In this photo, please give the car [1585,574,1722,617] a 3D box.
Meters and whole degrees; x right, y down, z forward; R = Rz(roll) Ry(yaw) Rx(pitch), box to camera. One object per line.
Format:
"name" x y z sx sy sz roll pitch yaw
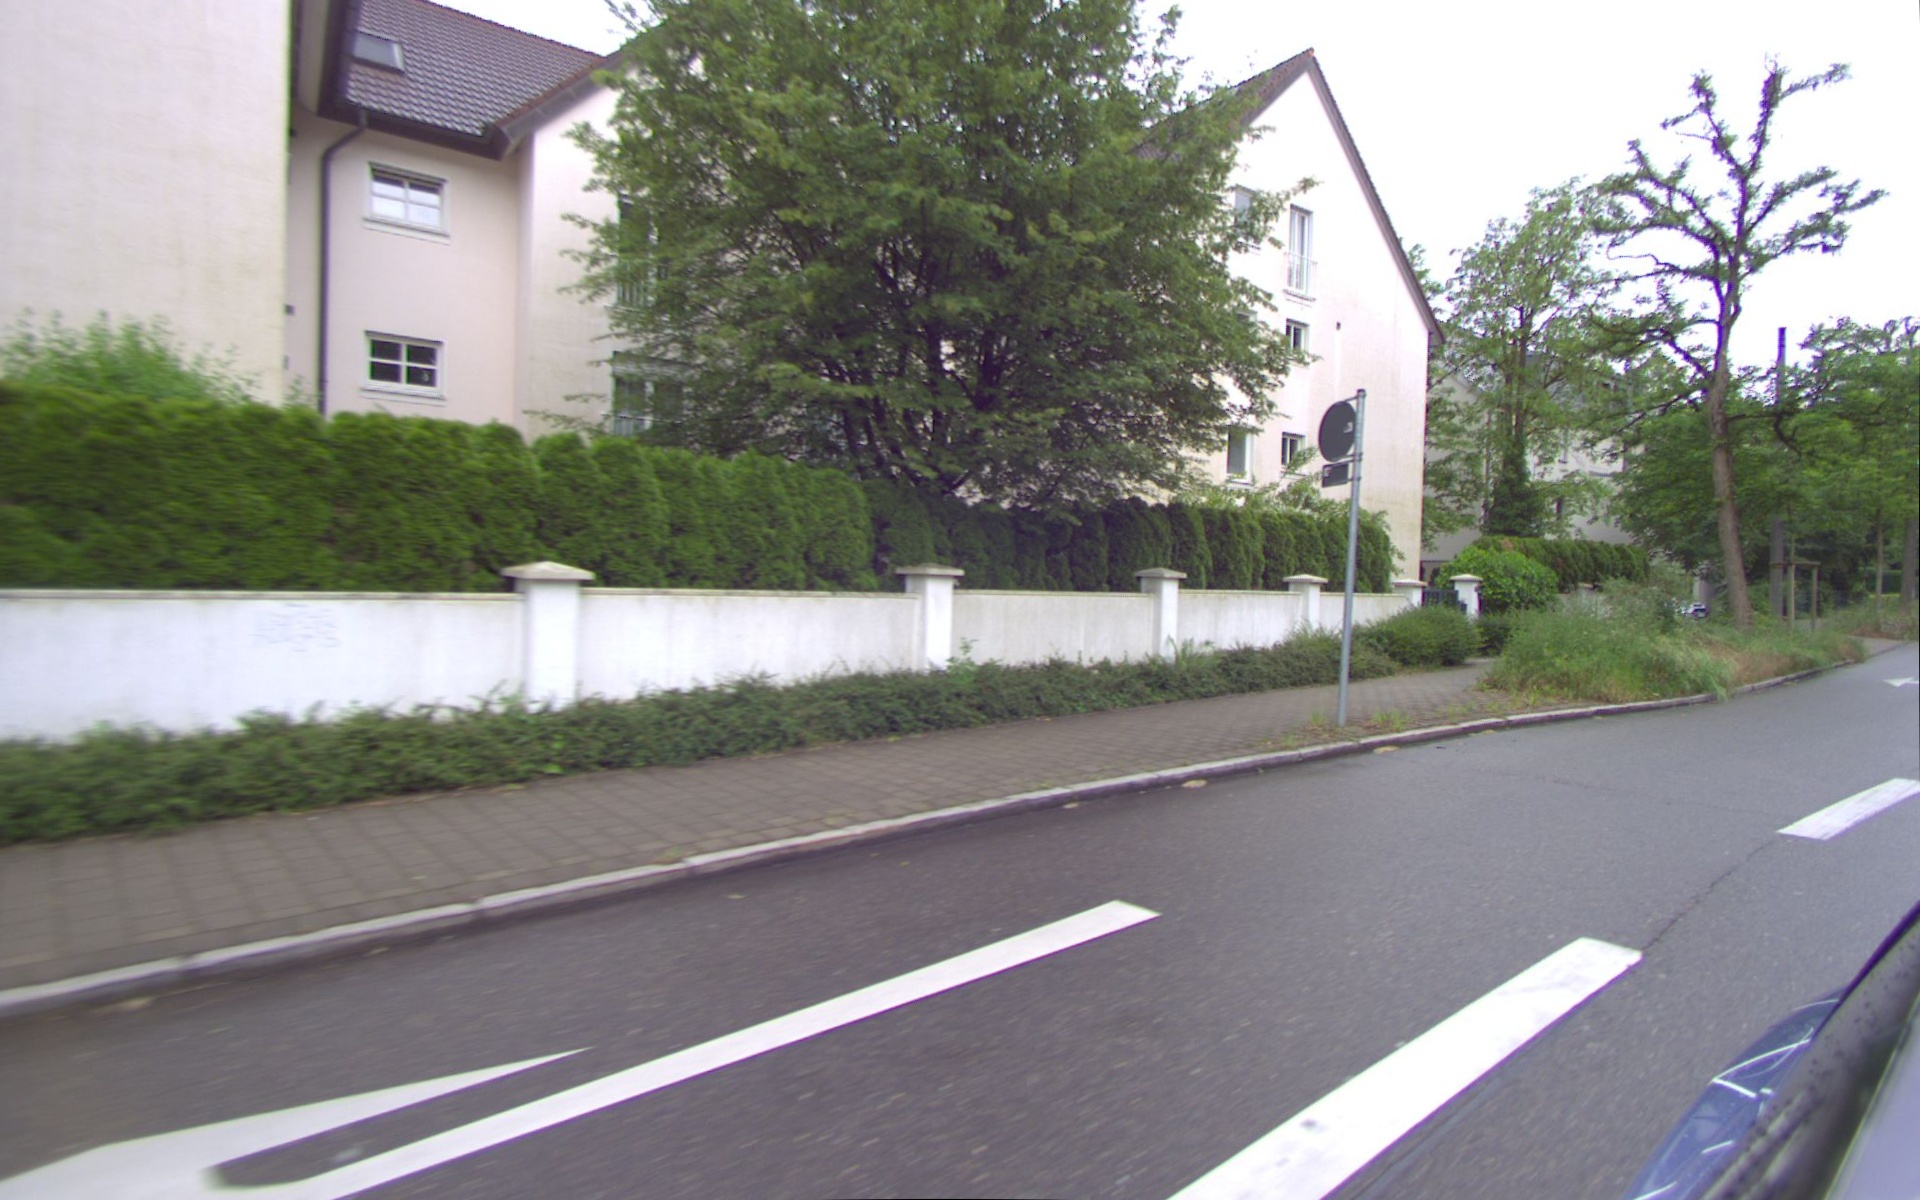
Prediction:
"car" 24.142 -0.193 35.328 1.506 1.382 3.640 0 2 -33
